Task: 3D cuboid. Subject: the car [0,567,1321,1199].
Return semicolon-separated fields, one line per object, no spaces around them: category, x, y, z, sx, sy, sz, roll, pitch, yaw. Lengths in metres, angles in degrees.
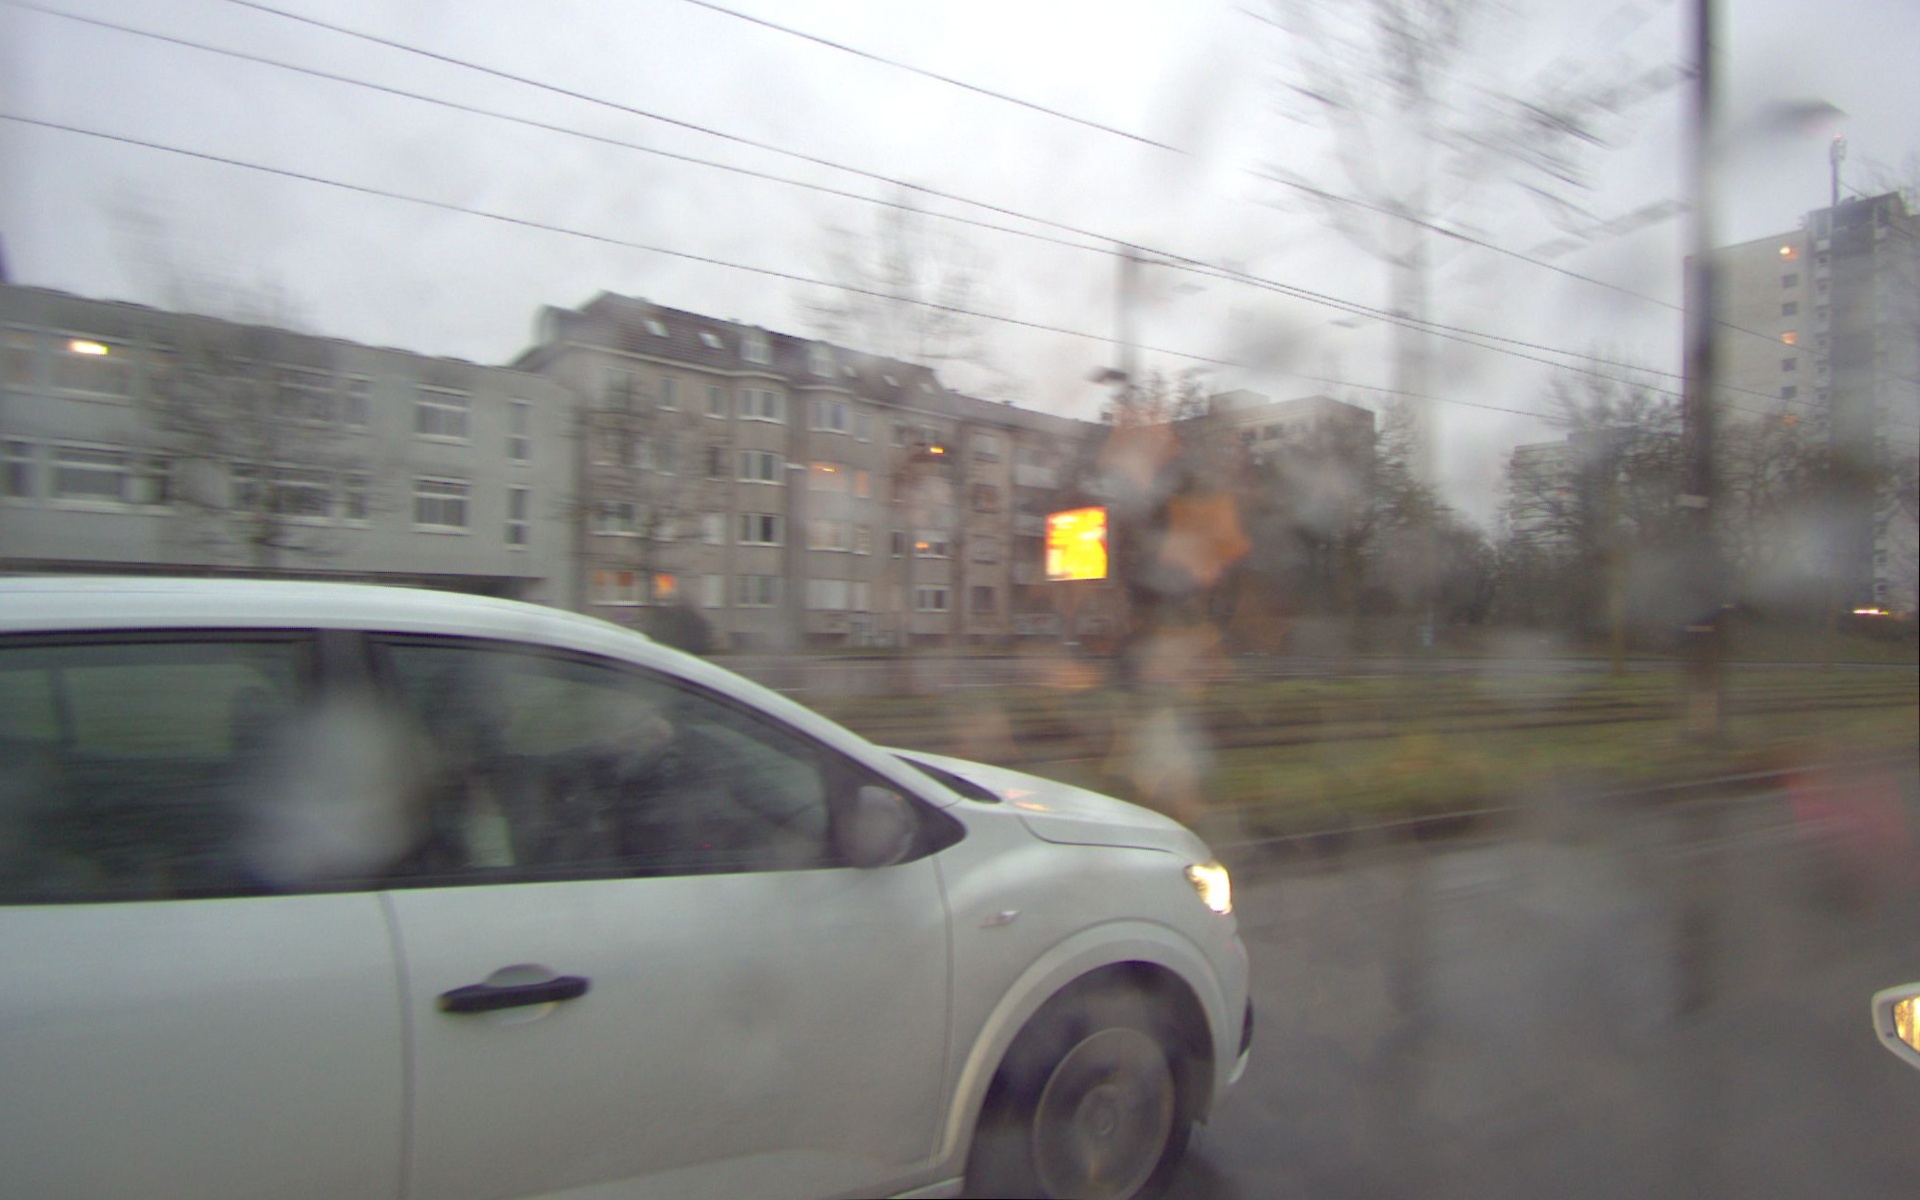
car;-1.230;0.719;2.297;3.953;1.485;1.700;3;-1;-30
